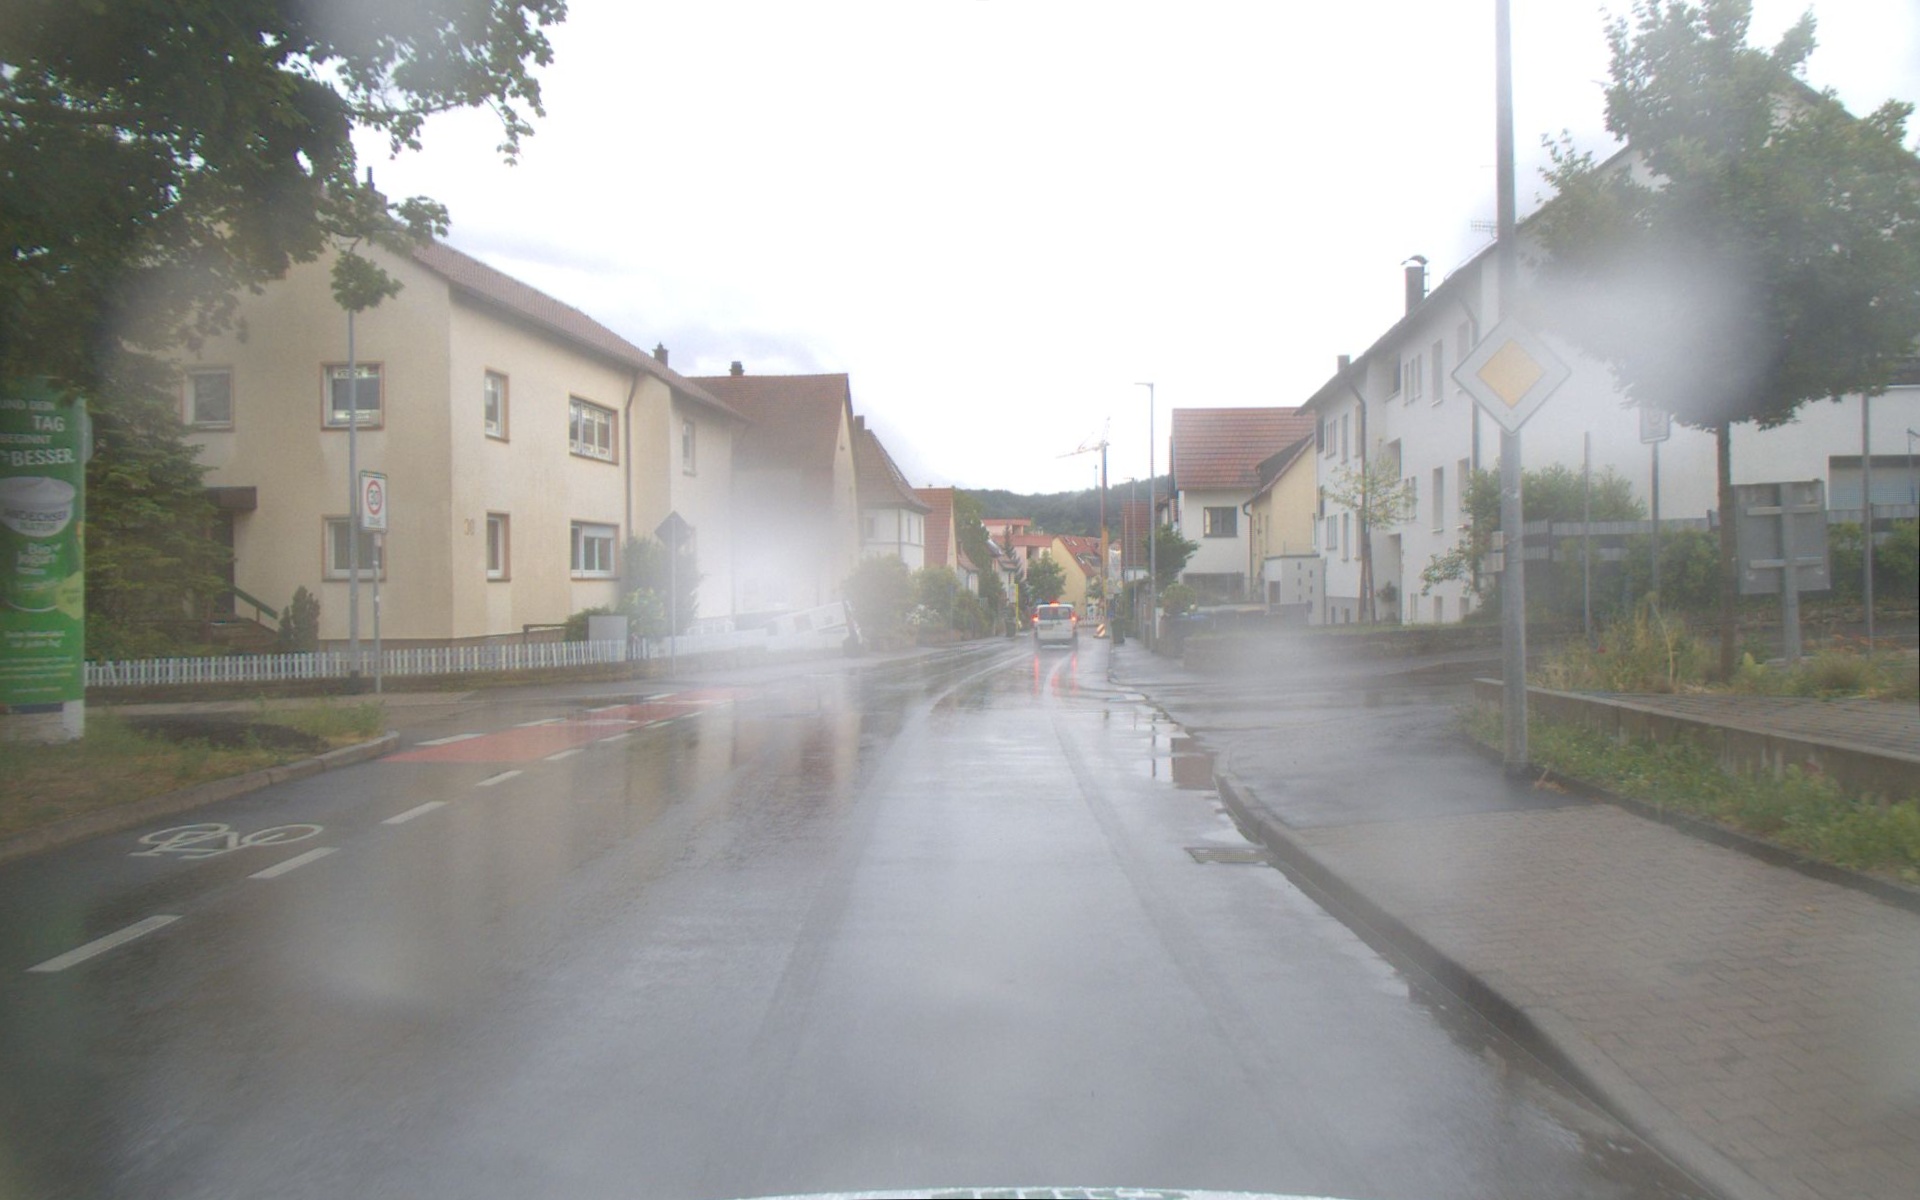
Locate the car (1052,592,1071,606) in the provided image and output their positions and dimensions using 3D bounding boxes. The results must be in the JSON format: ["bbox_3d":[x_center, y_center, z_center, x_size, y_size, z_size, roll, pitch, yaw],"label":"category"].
[{"bbox_3d":[12.245,-0.136,199.461,1.802,1.606,4.294,1,2,10],"label":"car"}]

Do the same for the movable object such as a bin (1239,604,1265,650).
[{"bbox_3d":[6.914,0.632,39.136,0.517,1.046,0.632,1,2,3],"label":"movable object such as a bin"}]

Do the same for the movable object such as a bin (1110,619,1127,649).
[{"bbox_3d":[7.141,1.519,74.698,0.729,1.301,0.883,-1,2,5],"label":"movable object such as a bin"}]

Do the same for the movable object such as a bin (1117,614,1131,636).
[{"bbox_3d":[10.062,1.553,101.464,0.769,1.299,0.714,1,2,9],"label":"movable object such as a bin"}]

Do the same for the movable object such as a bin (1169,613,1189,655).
[{"bbox_3d":[5.205,0.810,39.319,0.416,0.957,0.508,1,2,3],"label":"movable object such as a bin"}]

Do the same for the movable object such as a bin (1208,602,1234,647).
[{"bbox_3d":[6.290,0.586,39.888,0.533,1.046,0.632,1,2,3],"label":"movable object such as a bin"}]

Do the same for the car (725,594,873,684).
[{"bbox_3d":[-5.481,1.316,56.756,4.467,2.044,2.161,-13,1,4],"label":"car"}]

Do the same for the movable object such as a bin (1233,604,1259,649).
[{"bbox_3d":[6.885,0.646,39.861,0.533,1.046,0.632,1,2,3],"label":"movable object such as a bin"}]

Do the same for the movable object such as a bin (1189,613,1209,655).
[{"bbox_3d":[5.670,0.809,39.225,0.416,0.957,0.508,1,2,3],"label":"movable object such as a bin"}]

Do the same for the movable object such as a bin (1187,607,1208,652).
[{"bbox_3d":[5.723,0.697,39.887,0.416,1.046,0.632,1,2,3],"label":"movable object such as a bin"}]

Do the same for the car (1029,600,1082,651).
[{"bbox_3d":[4.081,1.052,70.222,2.072,1.921,4.506,1,2,5],"label":"car"}]

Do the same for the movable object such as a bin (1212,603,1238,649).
[{"bbox_3d":[6.270,0.617,39.181,0.533,1.046,0.632,1,2,3],"label":"movable object such as a bin"}]
